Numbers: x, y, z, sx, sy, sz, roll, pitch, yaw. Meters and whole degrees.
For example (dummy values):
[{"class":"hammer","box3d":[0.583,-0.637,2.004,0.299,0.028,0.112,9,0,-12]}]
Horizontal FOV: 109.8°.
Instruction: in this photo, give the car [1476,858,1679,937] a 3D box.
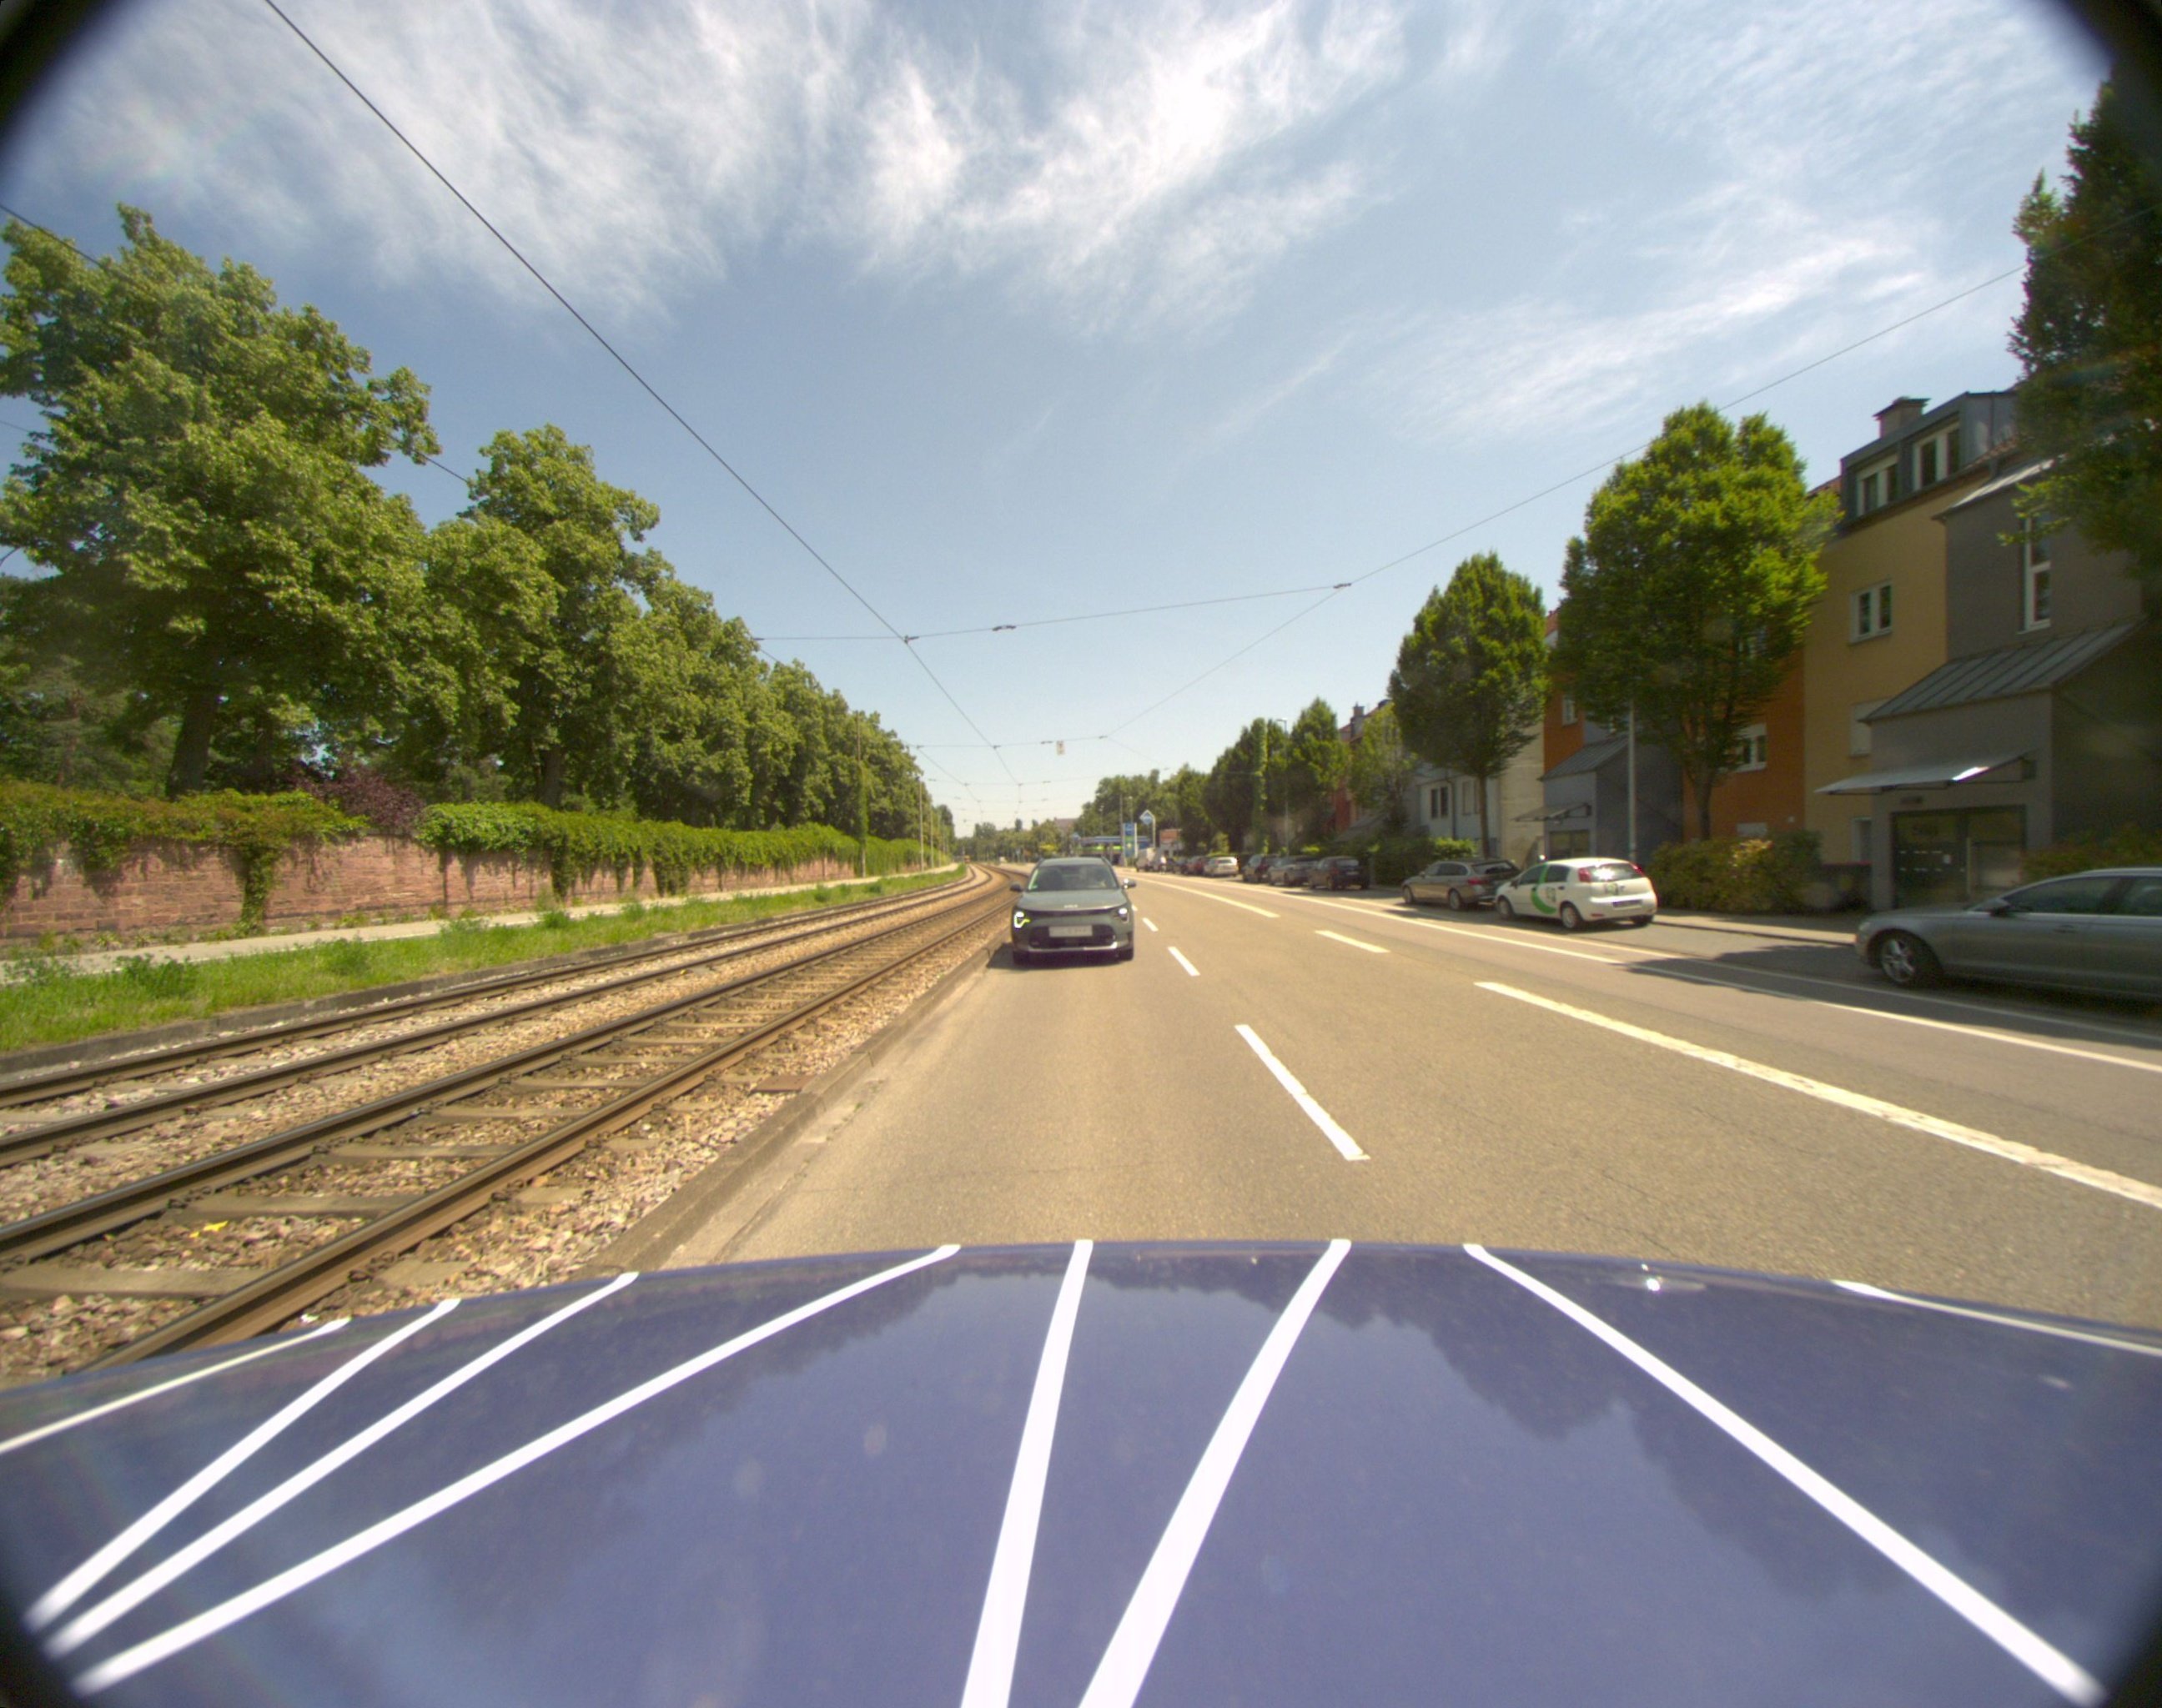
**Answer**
[{"class":"car","box3d":[11.260,0.898,17.682,1.750,1.434,4.420,-6,0,1]}]

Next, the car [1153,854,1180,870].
[{"class":"car","box3d":[8.596,0.782,76.649,1.870,1.528,4.142,-3,0,-4]}]

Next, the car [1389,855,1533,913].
[{"class":"car","box3d":[11.361,0.837,23.152,1.708,1.421,4.750,-6,0,-2]}]

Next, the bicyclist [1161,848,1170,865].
[{"class":"bicyclist","box3d":[7.249,0.201,65.113,0.737,1.496,0.737,1,1,1]}]

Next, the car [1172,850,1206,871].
[{"class":"car","box3d":[9.564,0.553,67.729,1.999,1.783,4.556,-1,0,-5]}]

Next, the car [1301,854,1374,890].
[{"class":"car","box3d":[11.448,0.776,34.190,1.754,1.424,4.257,-3,0,0]}]

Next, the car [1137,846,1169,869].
[{"class":"car","box3d":[7.767,0.394,82.669,2.285,2.294,5.226,-3,0,-8]}]

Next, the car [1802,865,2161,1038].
[{"class":"car","box3d":[10.809,0.915,7.822,1.791,1.441,5.133,-5,-1,0]}]

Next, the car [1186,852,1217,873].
[{"class":"car","box3d":[9.874,0.729,62.520,1.604,1.584,3.680,-3,0,-5]}]

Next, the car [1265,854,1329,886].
[{"class":"car","box3d":[11.138,0.776,39.481,1.830,1.487,4.756,-3,0,-1]}]

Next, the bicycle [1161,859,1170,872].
[{"class":"bicycle","box3d":[7.239,0.991,65.154,0.641,1.089,1.639,1,1,1]}]

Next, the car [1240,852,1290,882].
[{"class":"car","box3d":[10.900,0.741,45.303,1.772,1.579,4.147,-3,0,-3]}]

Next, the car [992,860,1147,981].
[{"class":"car","box3d":[-0.042,0.933,12.461,2.062,1.534,4.001,-3,0,3]}]

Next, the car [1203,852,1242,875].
[{"class":"car","box3d":[10.461,0.704,56.626,1.845,1.573,4.495,-3,0,-2]}]

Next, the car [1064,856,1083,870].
[{"class":"car","box3d":[-0.821,0.949,82.335,1.695,1.403,3.513,-2,0,-6]}]
